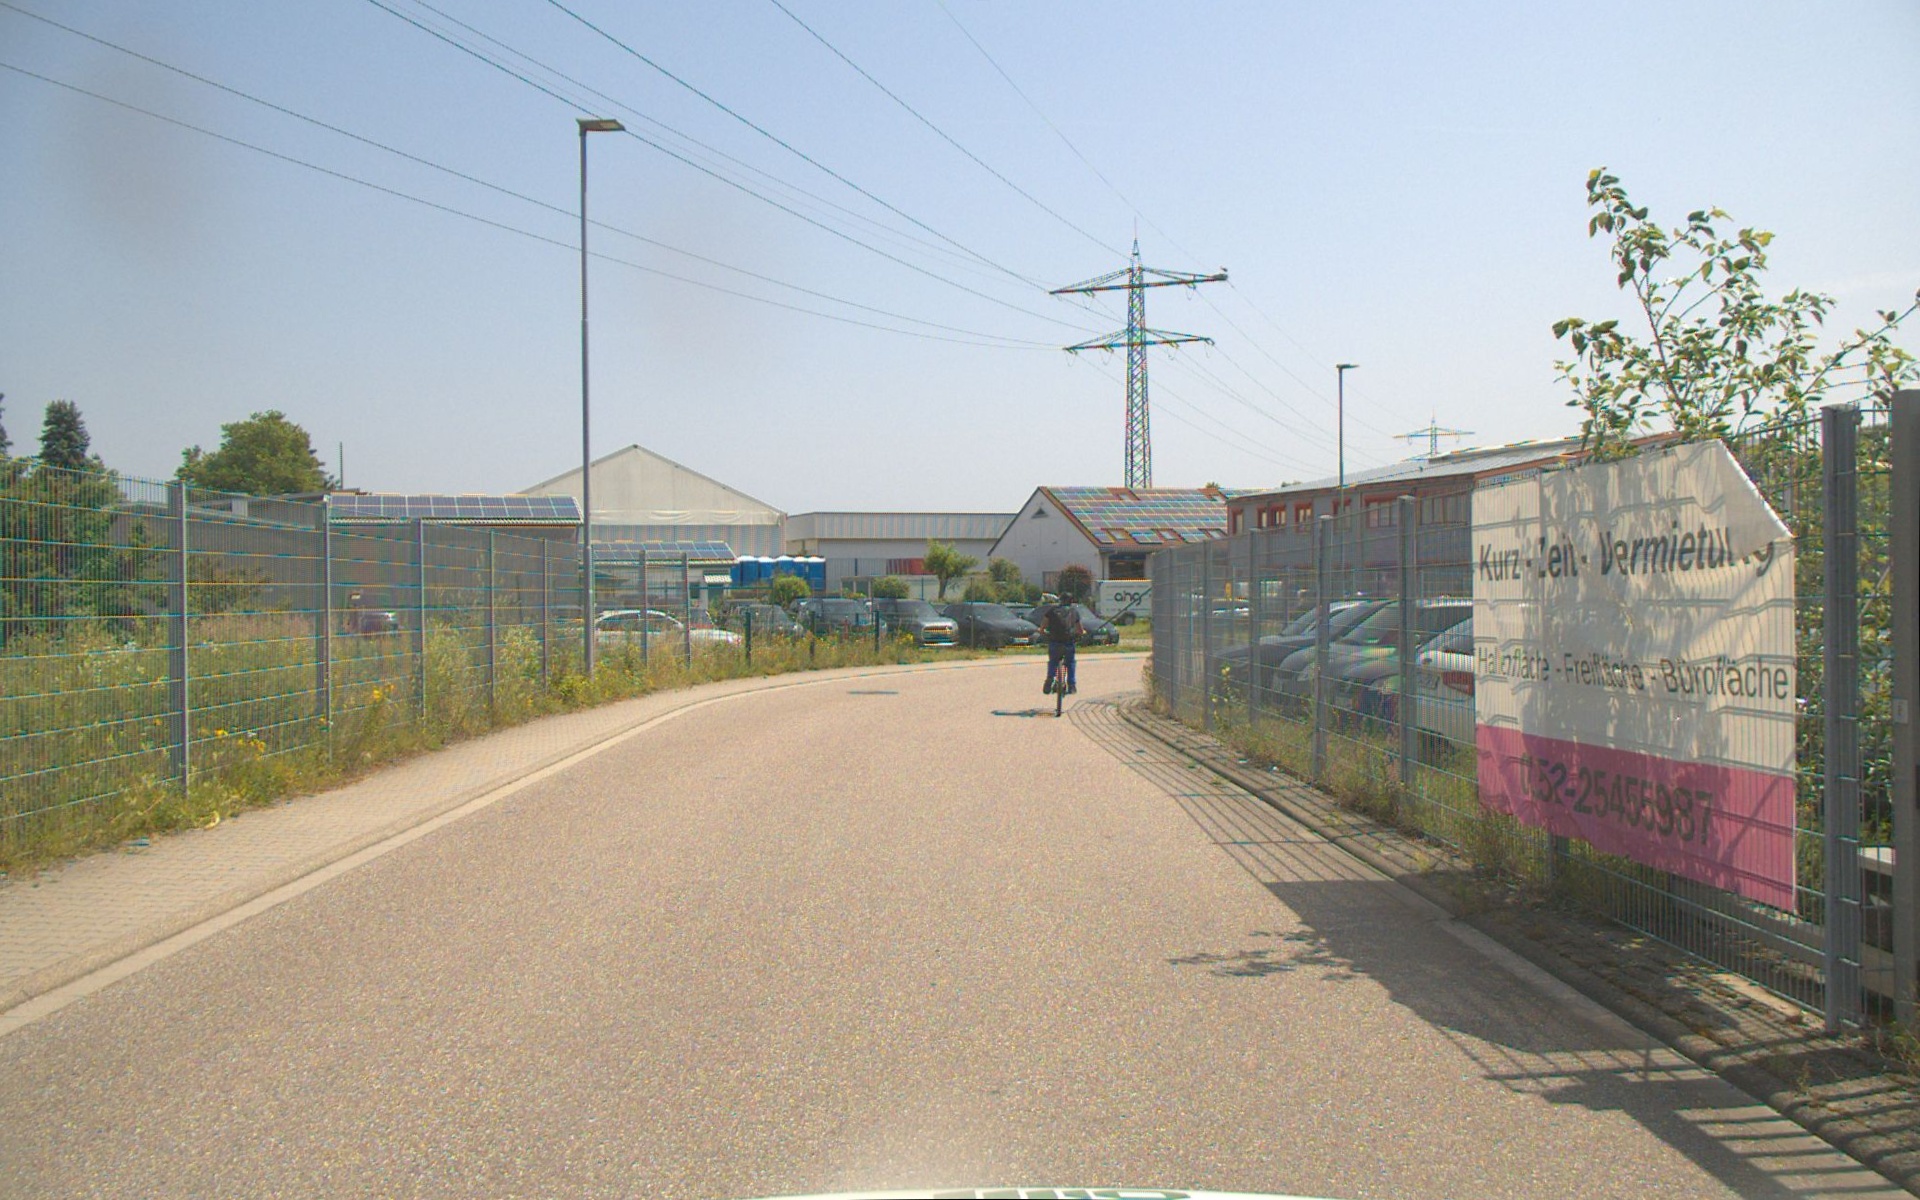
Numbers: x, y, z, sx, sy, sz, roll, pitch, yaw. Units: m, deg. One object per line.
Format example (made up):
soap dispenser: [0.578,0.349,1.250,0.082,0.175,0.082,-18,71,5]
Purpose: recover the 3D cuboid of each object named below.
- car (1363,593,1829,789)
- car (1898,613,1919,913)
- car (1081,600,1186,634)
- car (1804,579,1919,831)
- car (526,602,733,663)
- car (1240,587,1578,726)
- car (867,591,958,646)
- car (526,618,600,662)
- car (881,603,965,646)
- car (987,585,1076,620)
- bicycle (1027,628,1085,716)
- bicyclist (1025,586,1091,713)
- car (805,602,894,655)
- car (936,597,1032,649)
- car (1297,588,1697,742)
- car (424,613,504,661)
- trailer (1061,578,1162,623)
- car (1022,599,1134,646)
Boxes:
car: [5.588,0.770,14.780,3.455,1.413,1.635,4,0,-4]
car: [6.235,0.750,6.996,3.589,1.377,1.739,0,0,-3]
car: [6.878,0.669,65.535,4.070,1.283,1.227,-1,0,-22]
car: [6.812,0.572,9.489,3.204,1.377,1.526,0,0,-6]
car: [-7.636,0.718,38.206,4.481,1.330,1.857,0,0,-21]
car: [5.202,0.627,19.440,3.469,1.528,1.710,0,0,-4]
car: [-1.533,0.567,52.283,1.835,1.672,3.612,0,0,-21]
car: [-12.827,1.260,53.298,1.837,1.321,3.417,0,0,-22]
car: [-1.371,0.862,59.520,1.963,1.445,3.979,-1,0,-18]
car: [3.496,0.111,80.987,3.927,1.626,1.867,0,0,-19]
bicycle: [1.307,0.943,22.190,0.670,1.070,1.902,1,0,6]
bicyclist: [1.318,0.637,22.162,0.824,1.647,1.040,1,0,5]
car: [-3.492,0.862,51.705,1.835,1.588,3.674,0,0,-21]
car: [0.733,0.720,52.668,1.835,1.581,3.747,0,0,-21]
car: [5.539,0.660,17.282,3.581,1.503,1.748,0,-2,-9]
car: [-15.848,1.141,52.749,1.841,1.439,3.410,0,0,-28]
trailer: [6.961,0.002,76.139,4.362,1.979,1.712,-1,0,-6]
car: [3.822,0.710,54.500,1.966,1.460,4.637,0,0,-20]
